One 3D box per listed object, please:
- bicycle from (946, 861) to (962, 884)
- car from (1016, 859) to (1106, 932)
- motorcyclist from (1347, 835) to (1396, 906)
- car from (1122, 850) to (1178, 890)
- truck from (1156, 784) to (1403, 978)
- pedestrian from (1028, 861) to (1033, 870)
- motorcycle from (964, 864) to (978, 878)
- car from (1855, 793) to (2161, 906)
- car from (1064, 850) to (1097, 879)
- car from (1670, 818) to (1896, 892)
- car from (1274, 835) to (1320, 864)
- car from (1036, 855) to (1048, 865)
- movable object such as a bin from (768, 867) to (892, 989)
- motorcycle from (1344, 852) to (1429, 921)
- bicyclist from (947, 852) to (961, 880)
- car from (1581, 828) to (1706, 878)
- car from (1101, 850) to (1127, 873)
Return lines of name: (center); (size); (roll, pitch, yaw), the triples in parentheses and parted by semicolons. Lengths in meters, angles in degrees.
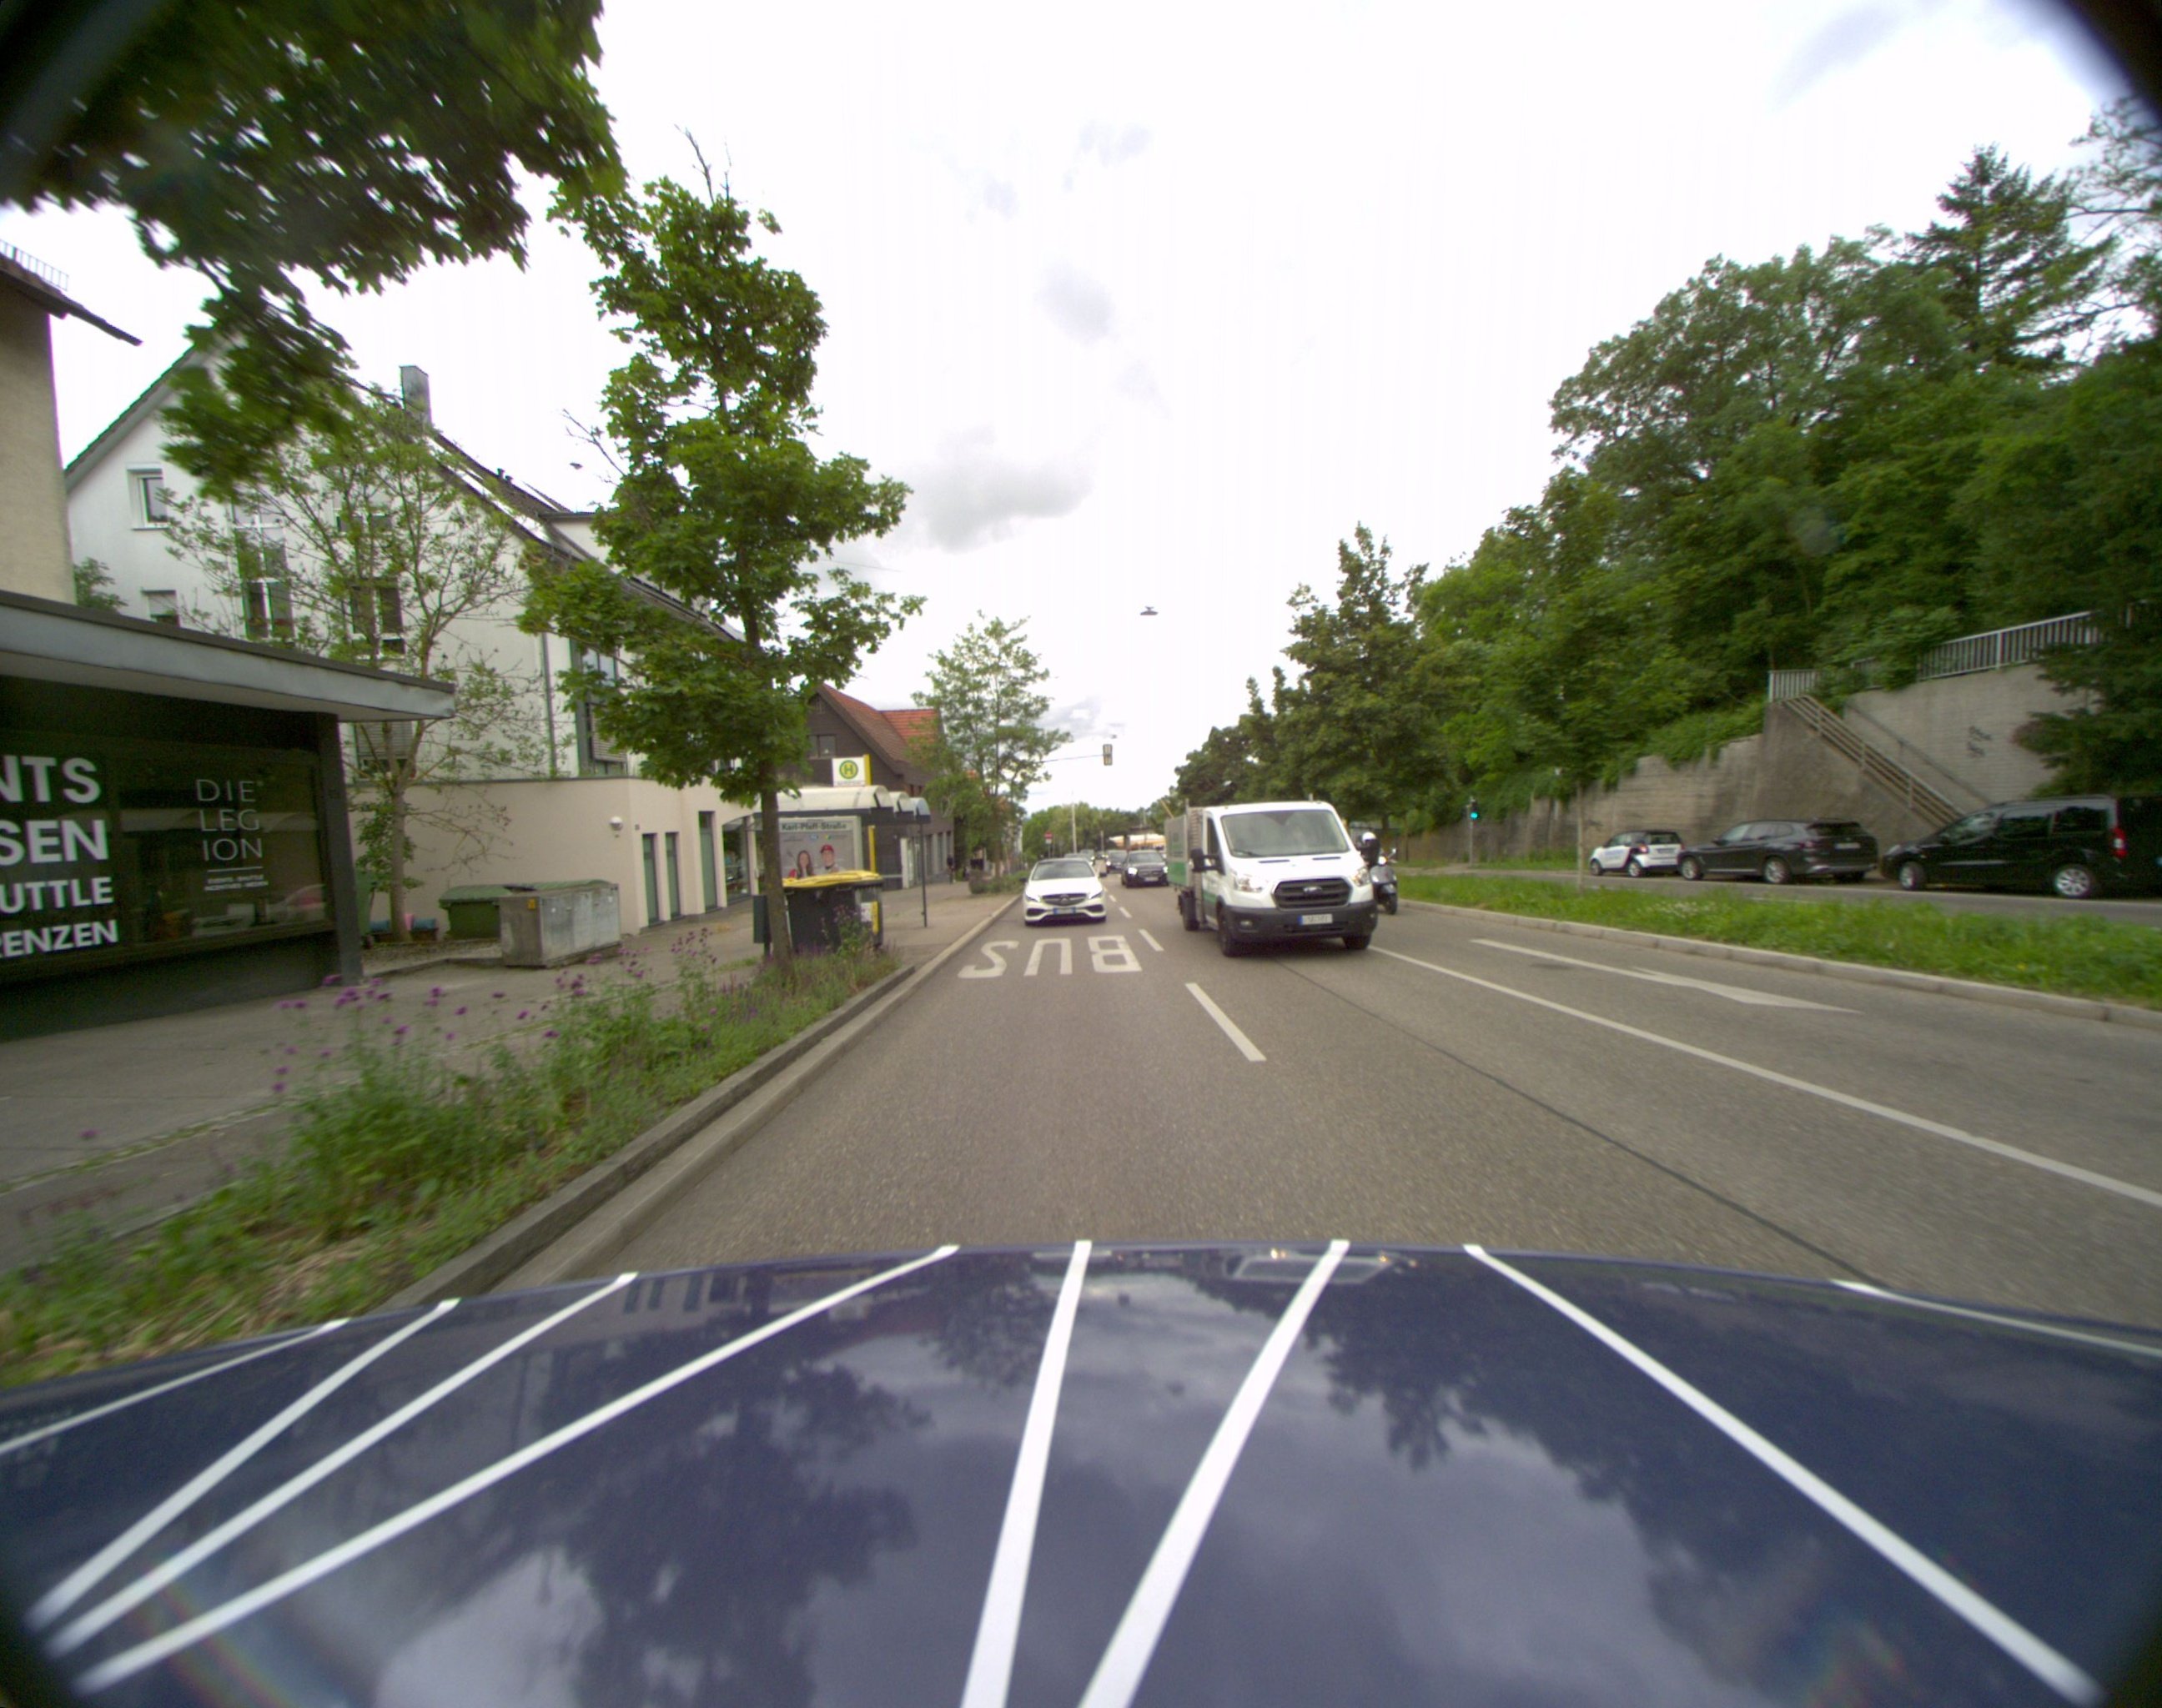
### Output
bicycle: (-7.312, 1.057, 43.841); (0.572, 1.254, 2.039); (-1, -1, 0)
car: (-0.367, 0.877, 17.792); (1.817, 1.390, 4.000); (-3, 0, 1)
motorcyclist: (5.990, 0.325, 15.698); (0.684, 1.410, 0.723); (-2, 1, -1)
car: (2.798, 0.635, 31.680); (1.915, 1.472, 4.400); (-3, 0, 1)
truck: (2.769, 0.298, 12.530); (2.081, 2.308, 6.329); (-3, 1, -3)
pedestrian: (-8.475, 1.902, 126.746); (0.713, 1.462, 0.695); (-3, 0, -1)
motorcycle: (-8.284, 1.270, 57.107); (0.697, 1.045, 1.967); (-1, 0, 2)
car: (18.088, -0.099, 14.665); (1.784, 1.832, 4.489); (-3, 0, 3)
car: (0.025, 0.602, 44.943); (1.777, 1.532, 4.000); (-3, 0, 1)
car: (18.339, 0.001, 20.216); (1.974, 1.647, 4.533); (-3, 0, 4)
car: (15.682, -0.340, 55.418); (1.943, 1.946, 5.021); (-3, 0, 1)
car: (-6.833, 1.065, 134.204); (1.923, 1.641, 3.999); (-3, 0, -1)
movable object such as a bin: (-3.359, 0.947, 10.347); (1.088, 1.473, 1.537); (-3, 0, 1)
motorcycle: (6.163, 0.618, 15.479); (0.830, 1.291, 2.045); (-2, 0, -1)
bicyclist: (-7.374, 0.694, 44.152); (0.539, 1.623, 0.947); (-3, 0, 0)
car: (18.739, -0.021, 25.478); (1.784, 1.489, 3.097); (-3, 0, -1)
car: (2.403, 0.534, 55.431); (1.777, 1.520, 4.001); (-1, 0, 2)
